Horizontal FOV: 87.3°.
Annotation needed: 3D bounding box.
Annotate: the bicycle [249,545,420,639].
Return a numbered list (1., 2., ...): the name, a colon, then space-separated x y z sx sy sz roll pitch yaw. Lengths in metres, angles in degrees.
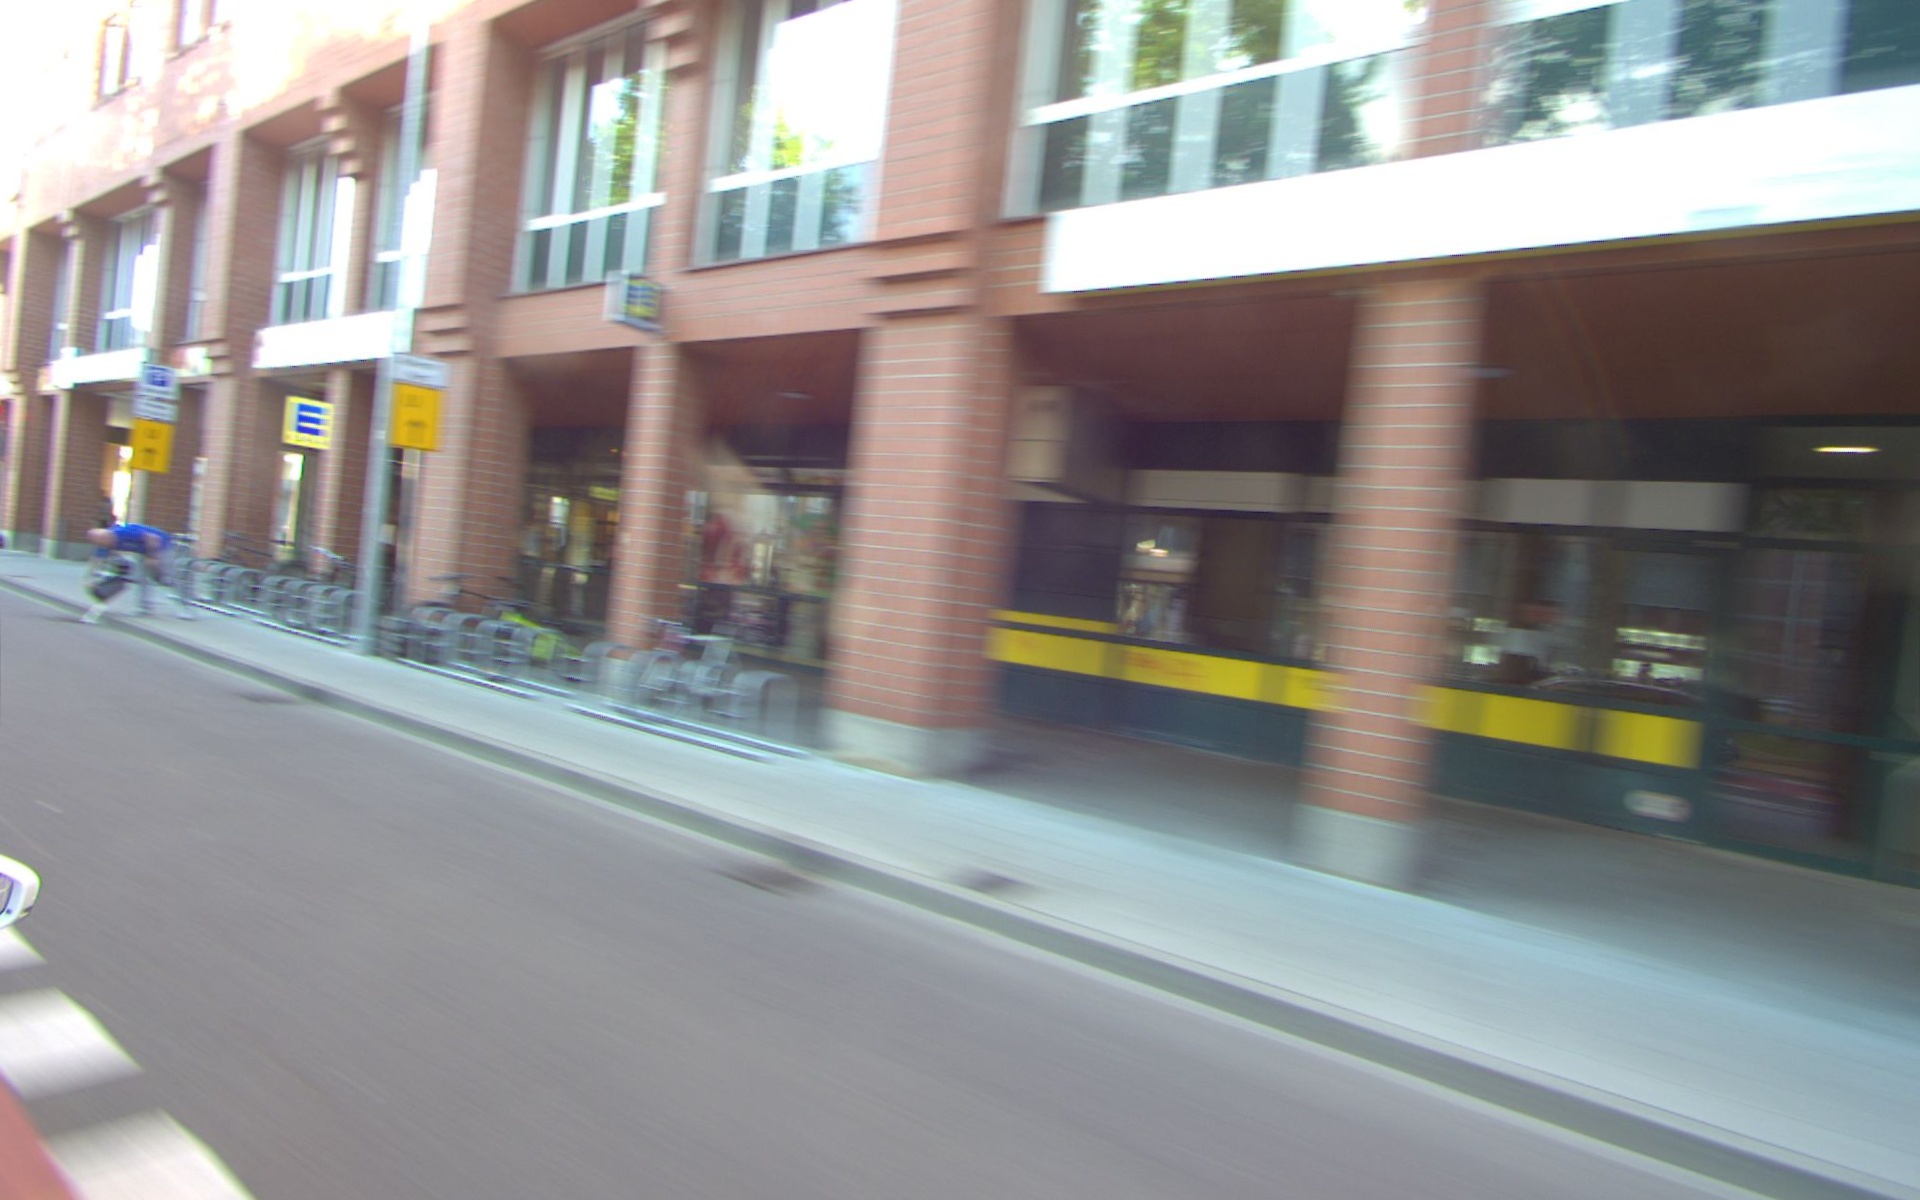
1. bicycle: -8.518 -0.081 13.782 0.467 1.133 1.891 7 1 35

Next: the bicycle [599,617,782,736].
1. bicycle: -2.480 0.676 9.402 0.546 0.968 1.609 7 3 37

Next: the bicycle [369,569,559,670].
1. bicycle: -5.858 0.244 11.988 0.564 1.071 1.929 7 3 38

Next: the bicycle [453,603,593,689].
1. bicycle: -4.730 0.490 10.949 0.418 0.853 1.332 7 3 37

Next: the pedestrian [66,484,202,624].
1. pedestrian: -10.900 -0.594 13.285 0.872 1.719 1.192 7 3 38

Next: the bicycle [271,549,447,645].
1. bicycle: -7.965 -0.009 13.423 0.541 1.133 1.891 7 1 35

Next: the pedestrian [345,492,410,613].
1. pedestrian: -10.325 -0.832 17.834 0.650 2.039 0.608 7 2 30

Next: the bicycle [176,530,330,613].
1. bicycle: -11.108 -0.415 15.868 0.467 1.133 1.891 7 1 35

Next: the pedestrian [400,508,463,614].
1. pedestrian: -9.507 -0.697 18.101 0.599 1.819 0.659 7 2 31

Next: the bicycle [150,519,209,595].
1. bicycle: -13.861 -0.779 17.850 1.652 1.198 0.339 7 2 37
